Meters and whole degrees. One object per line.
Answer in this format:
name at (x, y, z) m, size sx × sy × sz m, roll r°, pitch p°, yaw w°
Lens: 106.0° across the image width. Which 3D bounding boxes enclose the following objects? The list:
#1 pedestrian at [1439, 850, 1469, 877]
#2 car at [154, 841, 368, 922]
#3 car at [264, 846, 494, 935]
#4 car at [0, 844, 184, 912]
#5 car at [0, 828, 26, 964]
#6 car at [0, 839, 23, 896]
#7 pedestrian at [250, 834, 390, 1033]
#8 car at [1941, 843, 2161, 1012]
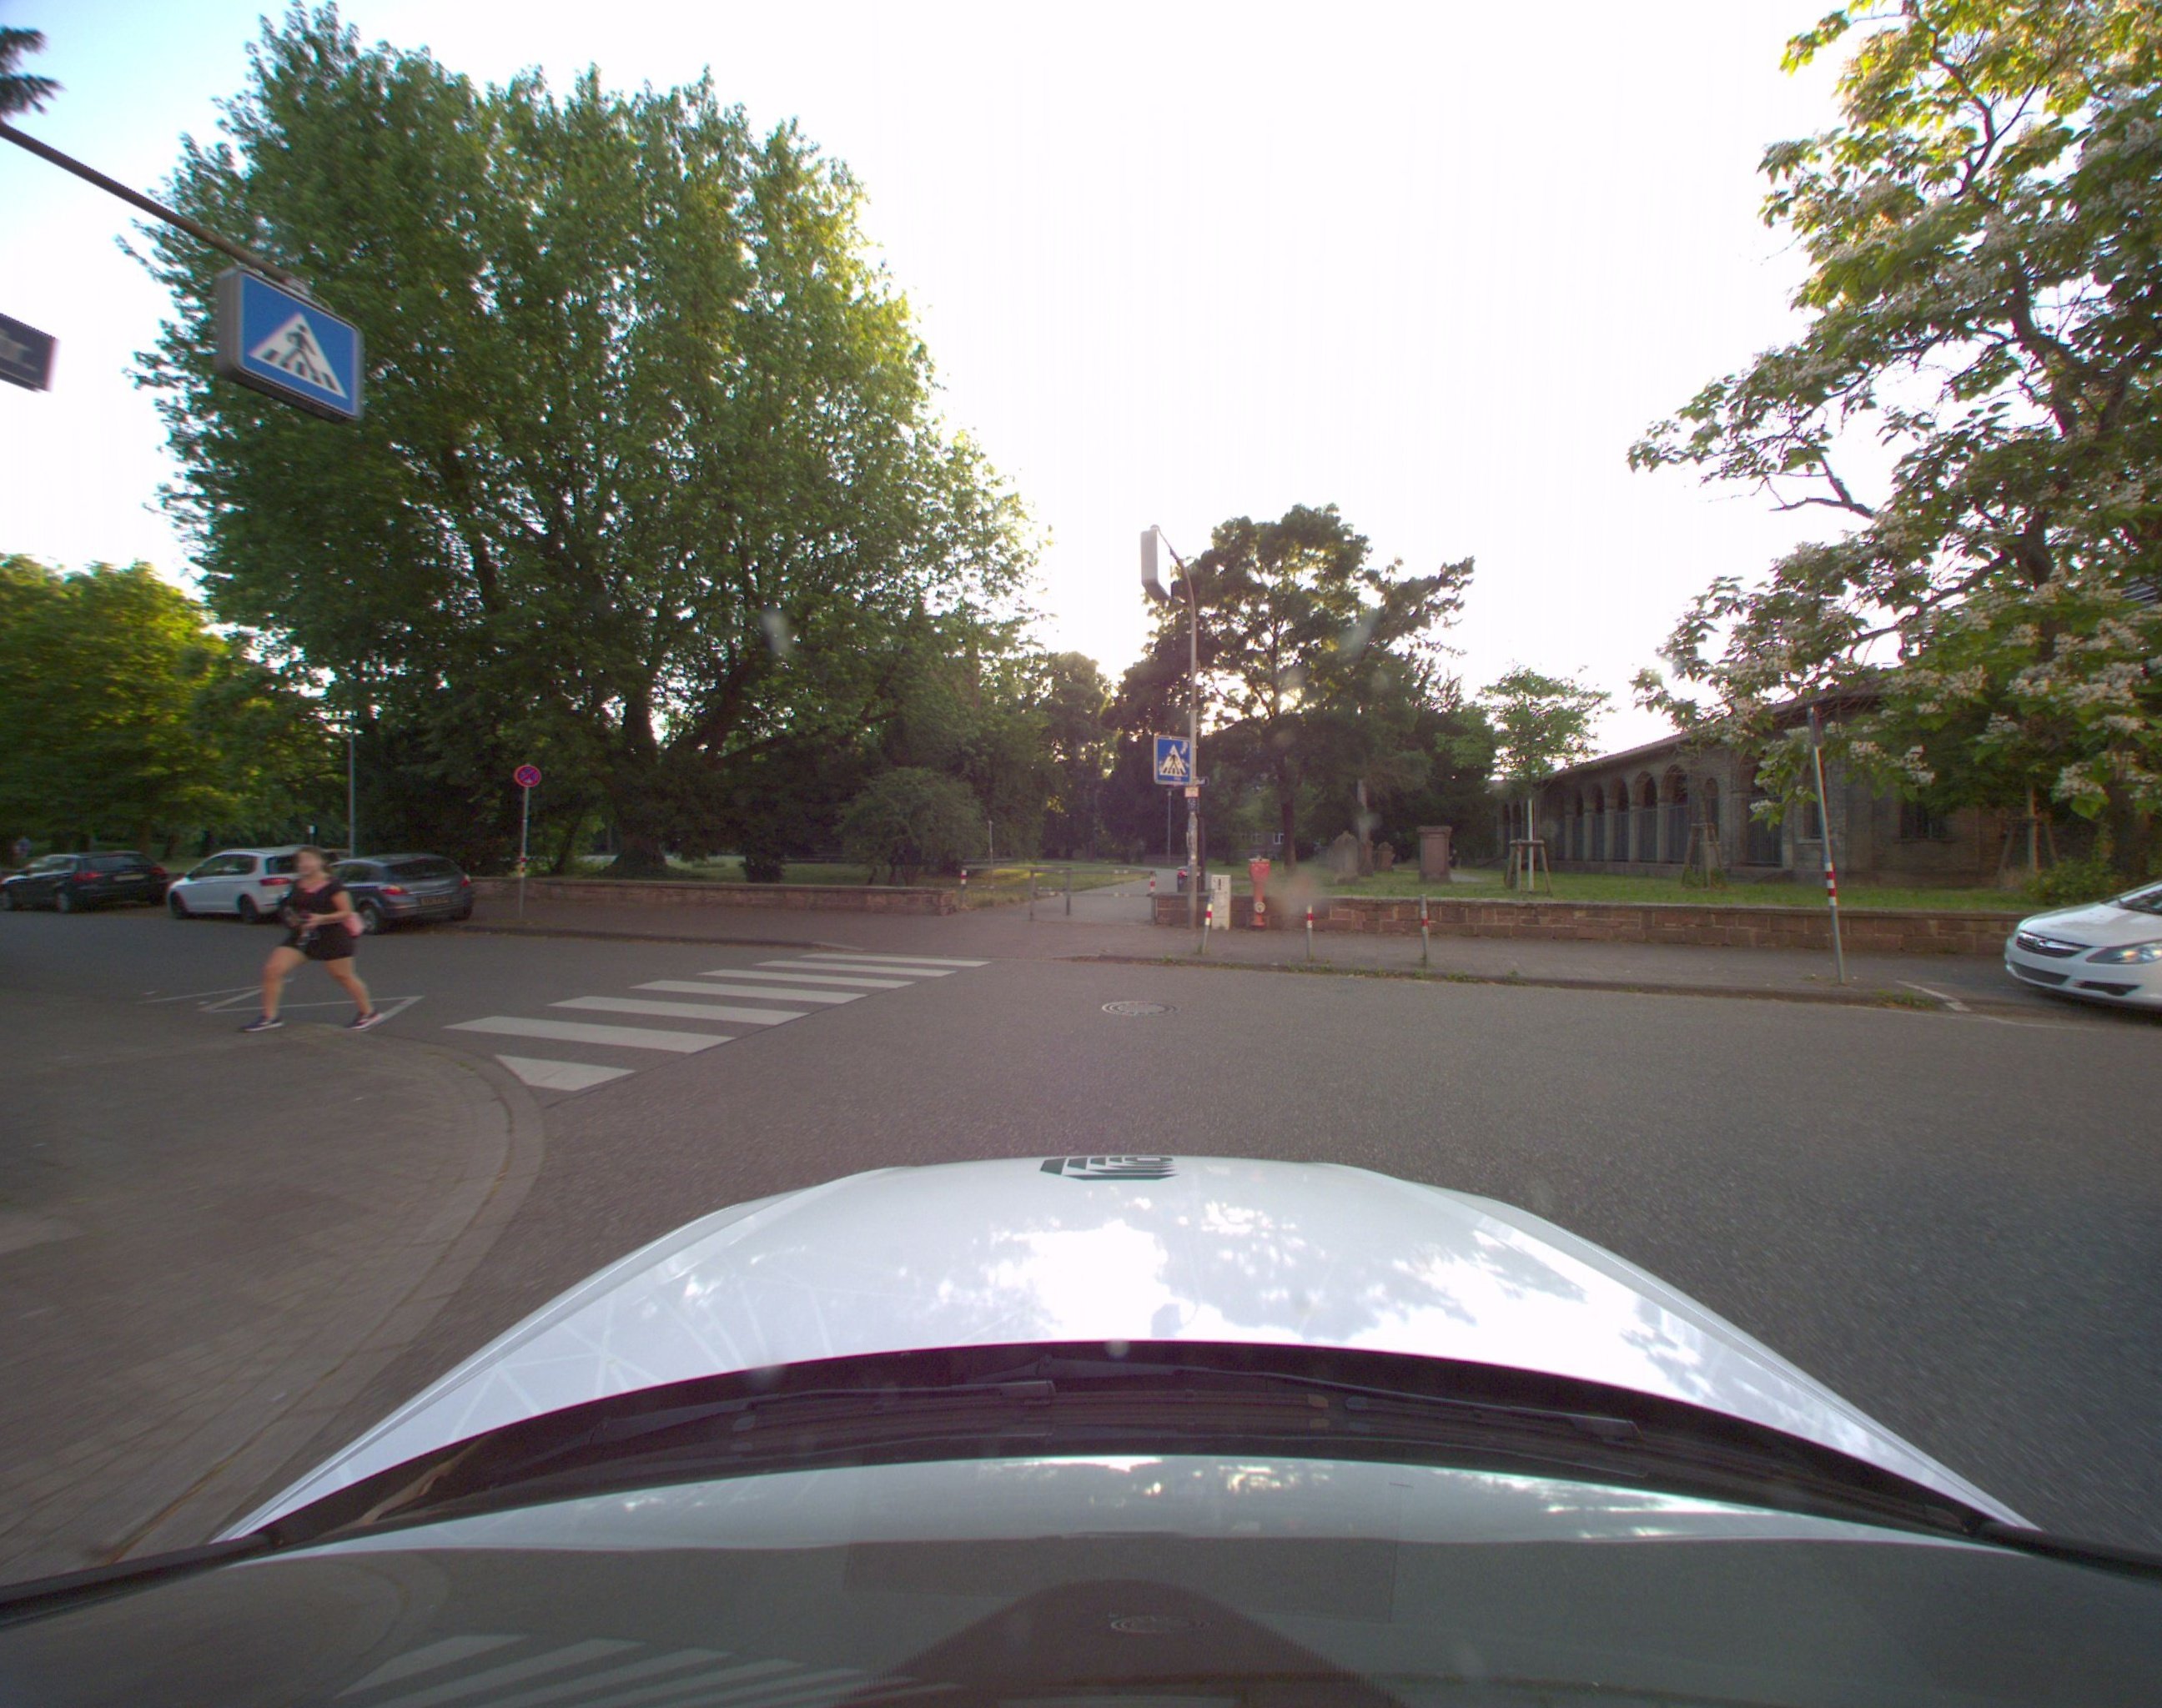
pedestrian at (20.390, 0.483, 44.511) m, size 1.318 × 1.444 × 1.050 m, roll 0°, pitch 0°, yaw 15°
car at (-18.712, 0.579, 18.623) m, size 3.837 × 1.562 × 1.833 m, roll 0°, pitch 6°, yaw 20°
car at (-14.375, 0.680, 16.720) m, size 3.819 × 1.491 × 1.833 m, roll 0°, pitch 6°, yaw 20°
car at (-25.244, 0.570, 20.672) m, size 3.837 × 1.439 × 1.833 m, roll 0°, pitch 6°, yaw 20°
car at (-16.535, 0.534, 10.712) m, size 4.194 × 1.799 × 1.831 m, roll 0°, pitch -3°, yaw 18°
car at (-33.085, 0.456, 23.519) m, size 3.837 × 1.603 × 1.833 m, roll 0°, pitch 6°, yaw 20°
pedestrian at (-6.671, 0.664, 7.178) m, size 0.648 × 1.648 × 0.669 m, roll 2°, pitch 1°, yaw -19°
car at (11.800, 0.717, 8.218) m, size 3.827 × 1.574 × 1.966 m, roll 1°, pitch 1°, yaw 14°
